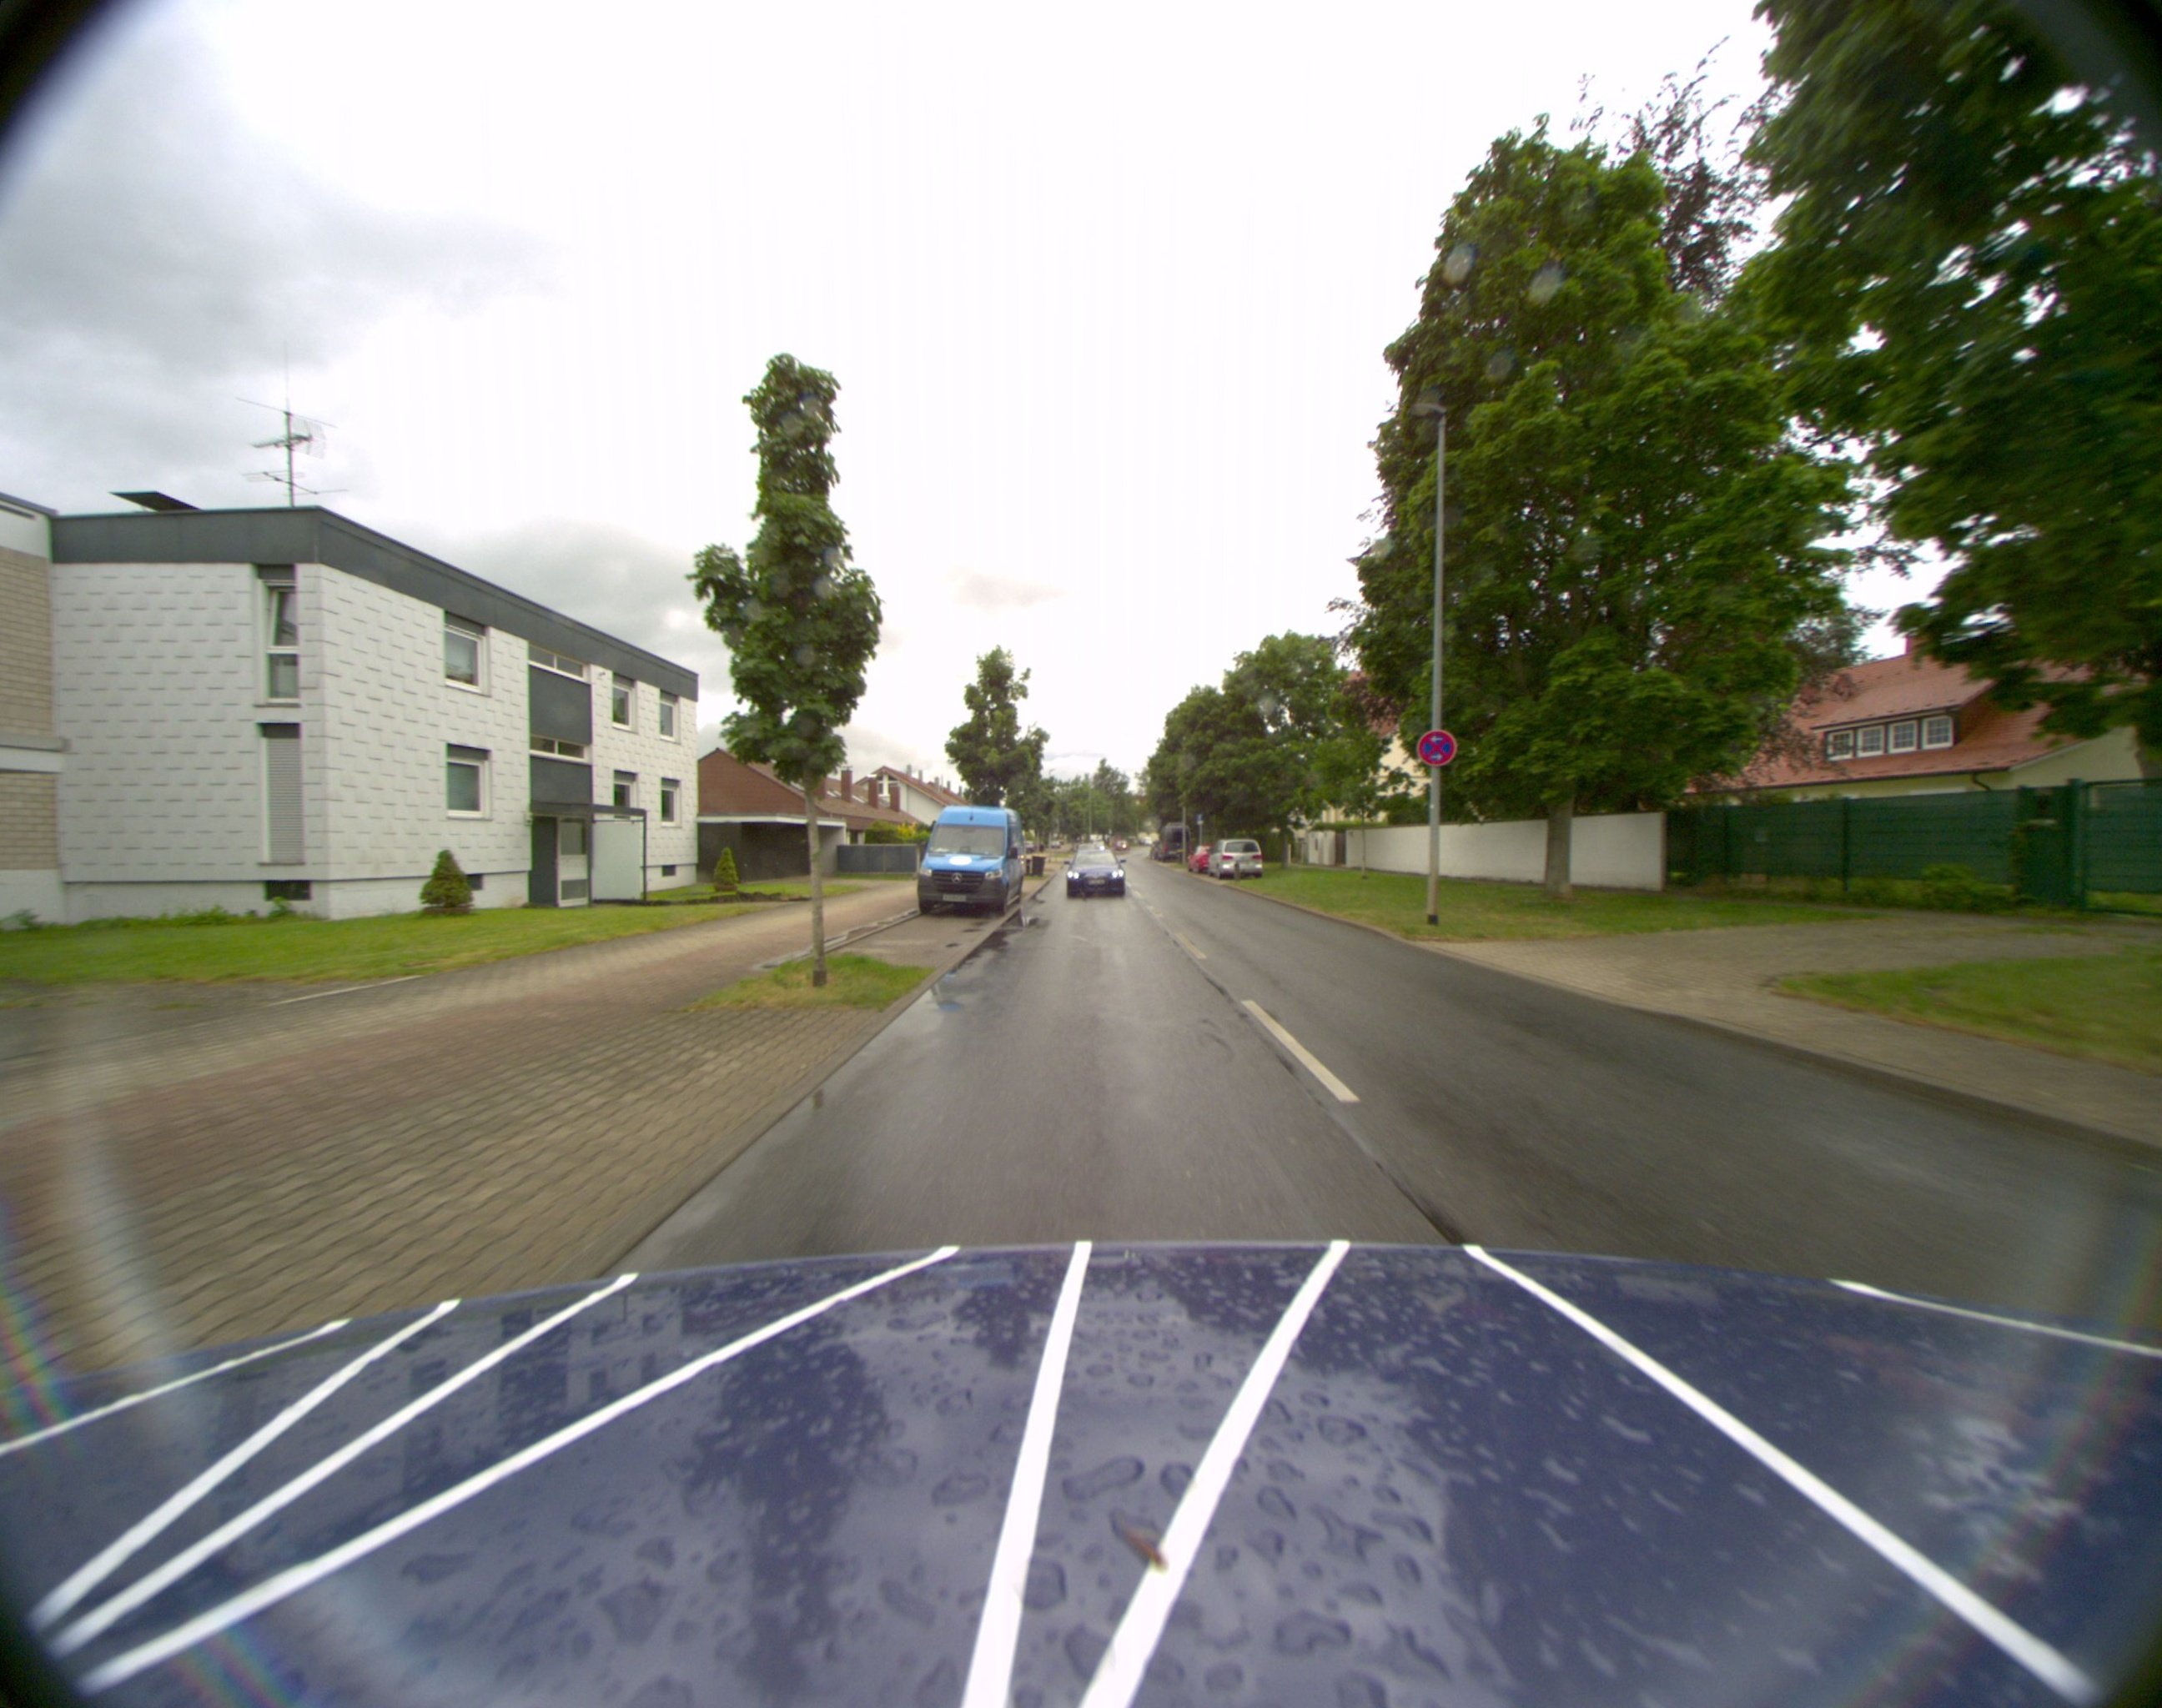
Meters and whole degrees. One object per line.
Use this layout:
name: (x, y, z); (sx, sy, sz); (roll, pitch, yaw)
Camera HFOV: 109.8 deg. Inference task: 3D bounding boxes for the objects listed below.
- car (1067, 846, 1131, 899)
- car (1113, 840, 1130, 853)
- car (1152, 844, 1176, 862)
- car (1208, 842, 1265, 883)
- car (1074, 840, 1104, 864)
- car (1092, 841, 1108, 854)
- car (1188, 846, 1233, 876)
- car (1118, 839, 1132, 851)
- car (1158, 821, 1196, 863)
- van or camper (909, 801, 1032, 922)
car: (0.582, 0.562, 25.206); (1.895, 1.531, 4.000); (-3, 0, 1)
car: (4.975, -0.893, 93.225); (1.895, 1.531, 4.001); (-3, 0, 4)
car: (6.717, -0.127, 61.774); (1.706, 1.316, 3.843); (-3, 1, 3)
car: (6.451, 0.300, 31.954); (1.775, 1.597, 4.000); (-1, 1, 3)
car: (0.602, -0.139, 54.407); (1.846, 1.531, 4.001); (-3, 0, 4)
car: (2.386, -0.820, 94.086); (1.895, 1.531, 4.001); (-3, 0, 2)
car: (6.304, 0.293, 37.304); (1.706, 1.316, 3.843); (-3, 1, 3)
car: (6.593, -1.327, 112.803); (1.895, 1.531, 4.001); (-3, 0, 5)
car: (6.912, -0.898, 55.121); (2.247, 2.822, 5.044); (-2, 1, 3)
van or camper: (-2.578, 0.126, 19.306); (2.148, 2.594, 5.781); (1, 1, 1)
